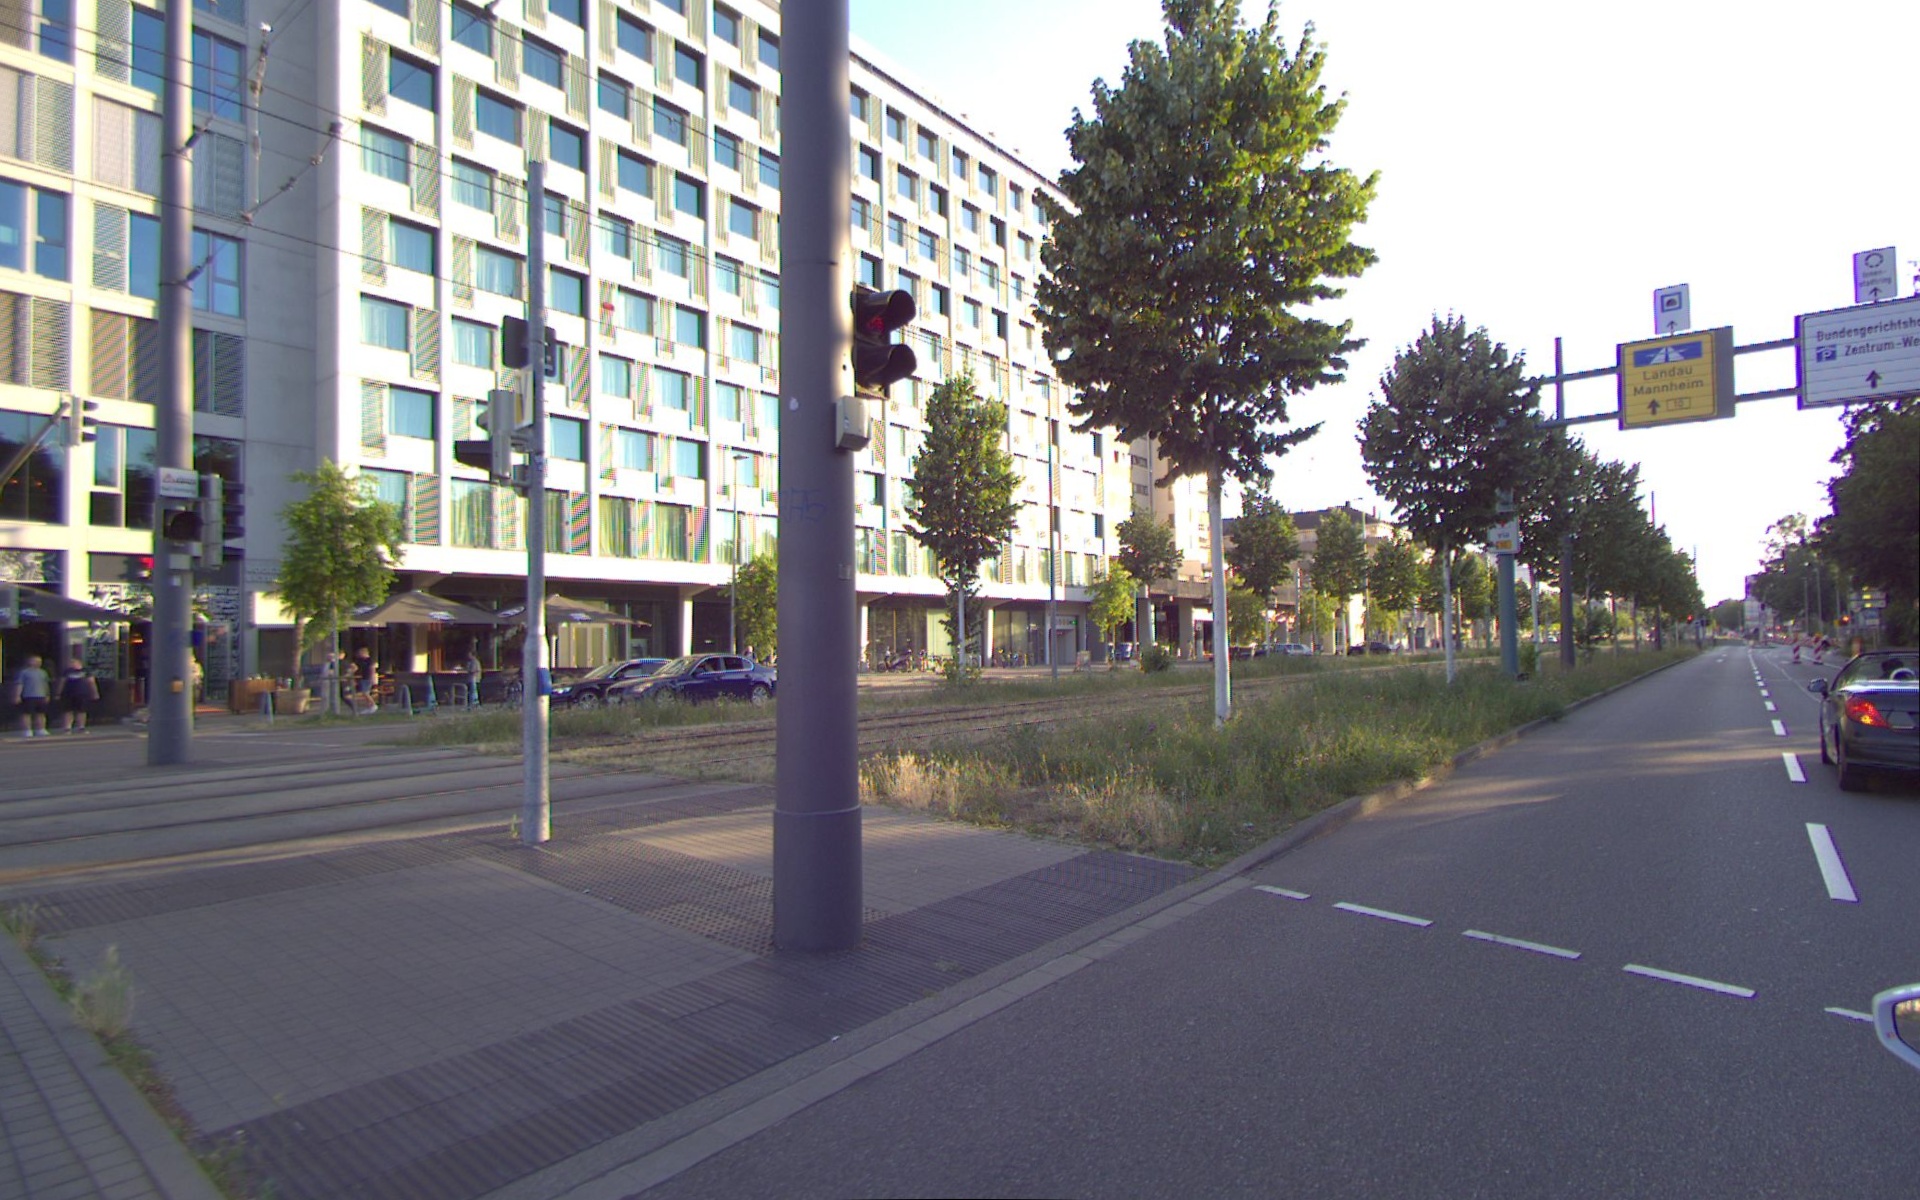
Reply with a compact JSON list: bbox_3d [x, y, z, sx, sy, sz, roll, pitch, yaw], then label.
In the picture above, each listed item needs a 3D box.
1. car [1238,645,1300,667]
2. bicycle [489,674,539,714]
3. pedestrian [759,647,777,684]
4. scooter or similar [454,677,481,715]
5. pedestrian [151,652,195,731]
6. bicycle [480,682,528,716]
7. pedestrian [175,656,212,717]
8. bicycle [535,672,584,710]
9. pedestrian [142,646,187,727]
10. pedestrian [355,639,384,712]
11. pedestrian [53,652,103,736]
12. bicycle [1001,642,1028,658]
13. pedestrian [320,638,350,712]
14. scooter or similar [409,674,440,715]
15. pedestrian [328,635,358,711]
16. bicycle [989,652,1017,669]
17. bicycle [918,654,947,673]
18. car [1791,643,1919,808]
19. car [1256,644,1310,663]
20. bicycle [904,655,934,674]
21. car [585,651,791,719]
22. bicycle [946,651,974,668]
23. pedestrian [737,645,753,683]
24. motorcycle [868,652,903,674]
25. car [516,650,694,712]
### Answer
[{"bbox_3d":[24.163,4.362,78.552,4.202,1.611,2.009,0,-2,-2],"label":"car"},{"bbox_3d":[-13.421,2.813,30.221,1.883,1.073,0.441,-1,-2,35],"label":"bicycle"},{"bbox_3d":[-8.552,2.913,44.709,0.491,1.621,0.601,0,-1,39],"label":"pedestrian"},{"bbox_3d":[-14.209,2.764,28.976,0.994,1.047,0.290,-2,-4,39],"label":"scooter or similar"},{"bbox_3d":[-19.246,2.220,24.579,0.608,1.846,0.705,0,-1,40],"label":"pedestrian"},{"bbox_3d":[-13.562,2.930,29.855,1.840,0.882,0.441,-1,-2,35],"label":"bicycle"},{"bbox_3d":[-20.935,2.347,27.435,0.672,1.625,0.704,0,-1,45],"label":"pedestrian"},{"bbox_3d":[-12.455,2.824,31.226,1.883,1.073,0.441,-1,-2,35],"label":"bicycle"},{"bbox_3d":[-19.785,2.142,24.988,0.670,1.949,0.705,0,-1,39],"label":"pedestrian"},{"bbox_3d":[-16.744,2.138,28.501,0.542,2.040,0.501,0,-2,-10],"label":"pedestrian"},{"bbox_3d":[-20.295,2.139,23.110,0.697,1.860,0.678,0,-2,36],"label":"pedestrian"},{"bbox_3d":[3.530,3.247,65.391,1.763,1.033,0.420,-2,-3,35],"label":"bicycle"},{"bbox_3d":[-17.583,2.096,28.267,0.542,2.040,0.501,0,-2,-10],"label":"pedestrian"},{"bbox_3d":[-15.064,2.647,28.249,0.960,1.099,0.337,1,-4,39],"label":"scooter or similar"},{"bbox_3d":[-16.801,1.975,27.363,0.542,2.040,0.501,0,-2,-10],"label":"pedestrian"},{"bbox_3d":[2.660,3.707,61.986,1.763,1.033,0.420,-2,-3,35],"label":"bicycle"},{"bbox_3d":[-1.547,3.573,56.795,1.719,1.033,0.420,-2,-3,34],"label":"bicycle"},{"bbox_3d":[10.006,1.210,10.545,1.696,1.469,3.888,0,-2,36],"label":"car"},{"bbox_3d":[26.943,4.449,83.846,4.047,1.455,1.827,1,-1,11],"label":"car"},{"bbox_3d":[-2.253,3.540,55.337,1.763,1.033,0.420,-2,-3,35],"label":"bicycle"},{"bbox_3d":[-6.721,2.092,25.293,1.990,1.459,4.783,-5,-4,37],"label":"car"},{"bbox_3d":[-0.008,3.495,59.032,1.763,1.033,0.420,-2,-3,35],"label":"bicycle"},{"bbox_3d":[-9.570,2.854,44.765,0.423,1.678,0.514,0,-1,39],"label":"pedestrian"},{"bbox_3d":[-4.012,3.382,53.951,1.861,1.187,0.516,-1,-2,23],"label":"motorcycle"},{"bbox_3d":[-9.444,2.138,27.011,1.861,1.458,4.209,-4,-4,36],"label":"car"}]
